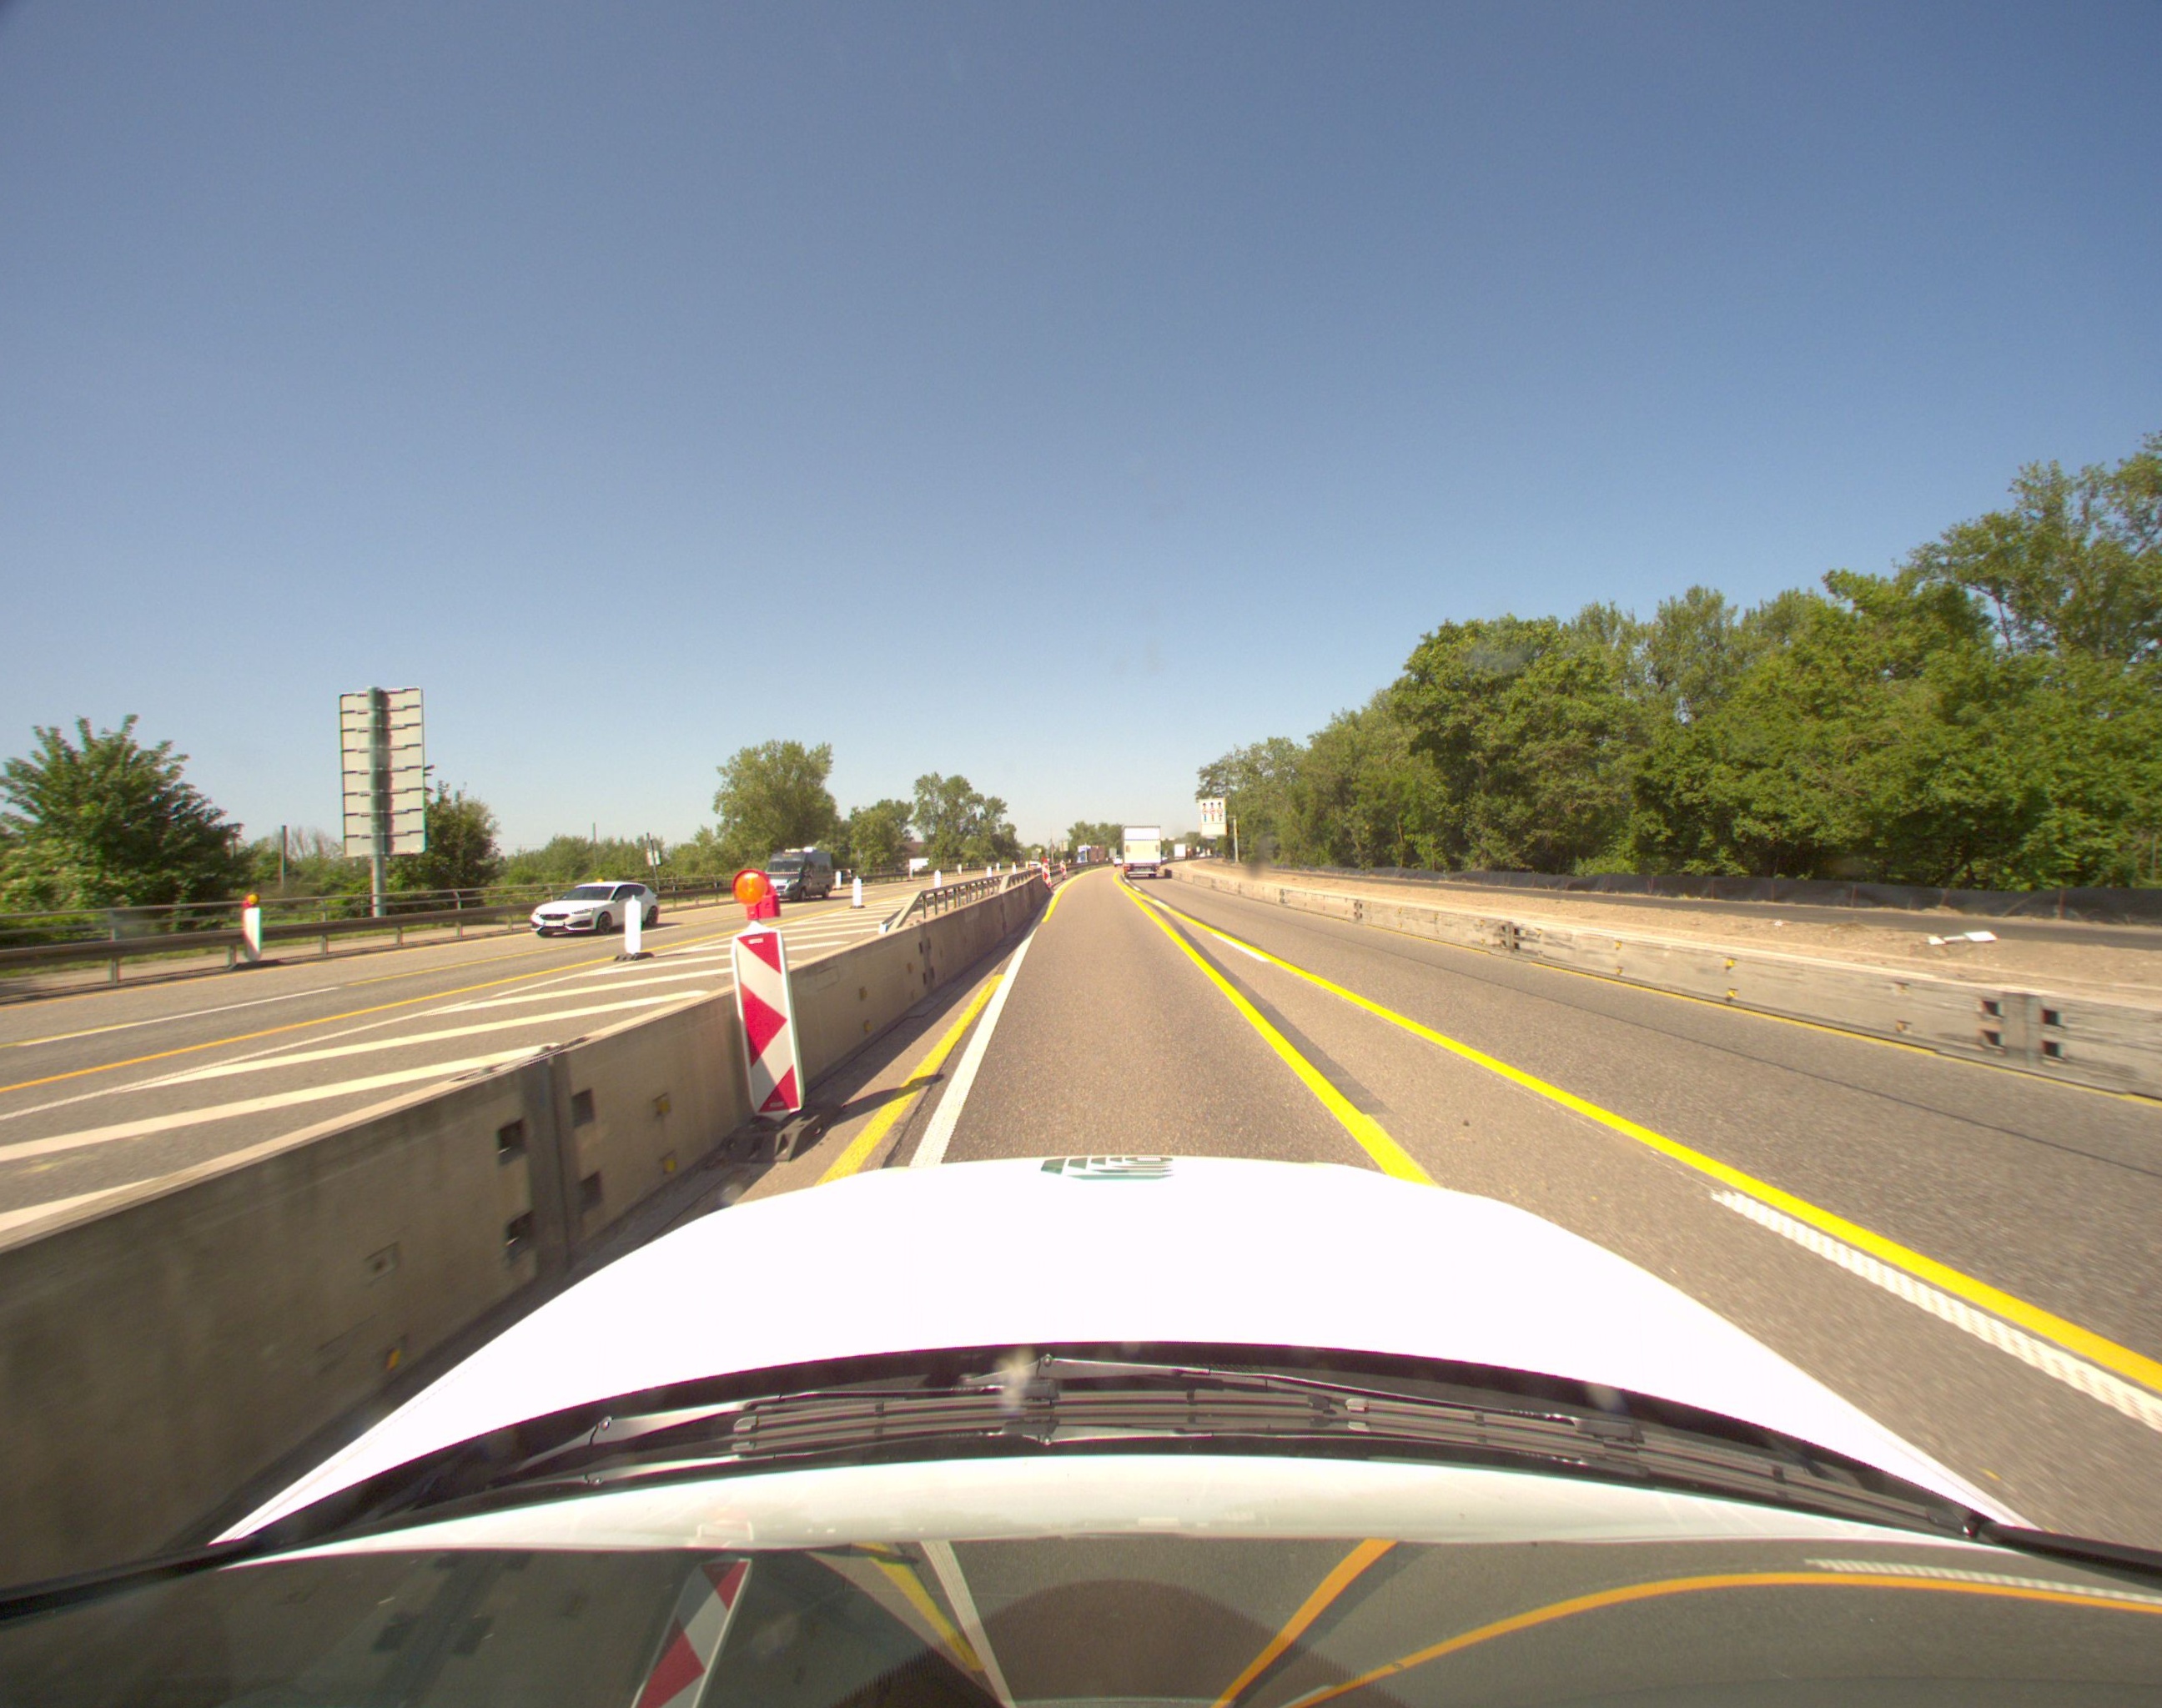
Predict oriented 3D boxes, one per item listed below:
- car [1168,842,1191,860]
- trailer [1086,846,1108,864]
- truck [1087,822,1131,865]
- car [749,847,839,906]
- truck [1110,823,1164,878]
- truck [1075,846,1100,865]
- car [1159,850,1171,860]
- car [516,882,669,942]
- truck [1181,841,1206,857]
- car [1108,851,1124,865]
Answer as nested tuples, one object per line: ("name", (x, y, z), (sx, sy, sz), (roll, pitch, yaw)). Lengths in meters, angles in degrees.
("car", (24.485, -0.771, 201.818), (4.178, 4.251, 10.699), (-4, 0, 13))
("trailer", (3.788, 0.241, 186.734), (3.017, 4.091, 9.823), (-1, 0, 13))
("truck", (2.640, -0.970, 79.533), (3.382, 3.774, 7.222), (-4, 0, -4))
("car", (-14.060, 1.039, 40.315), (2.137, 2.660, 5.549), (-2, 0, 2))
("truck", (3.613, -0.227, 54.621), (2.629, 3.427, 7.222), (0, 0, -4))
("truck", (1.492, 0.284, 176.717), (3.017, 4.091, 10.662), (-1, 0, 13))
("car", (17.317, 0.201, 167.347), (1.981, 2.013, 4.013), (-4, 0, 11))
("car", (-14.148, 1.614, 23.943), (1.713, 1.397, 4.520), (-2, 0, 0))
("truck", (32.675, -1.557, 235.738), (4.182, 4.266, 10.299), (-4, 0, 23))
("car", (4.748, 0.500, 110.666), (1.807, 1.776, 4.007), (-4, 0, 6))
